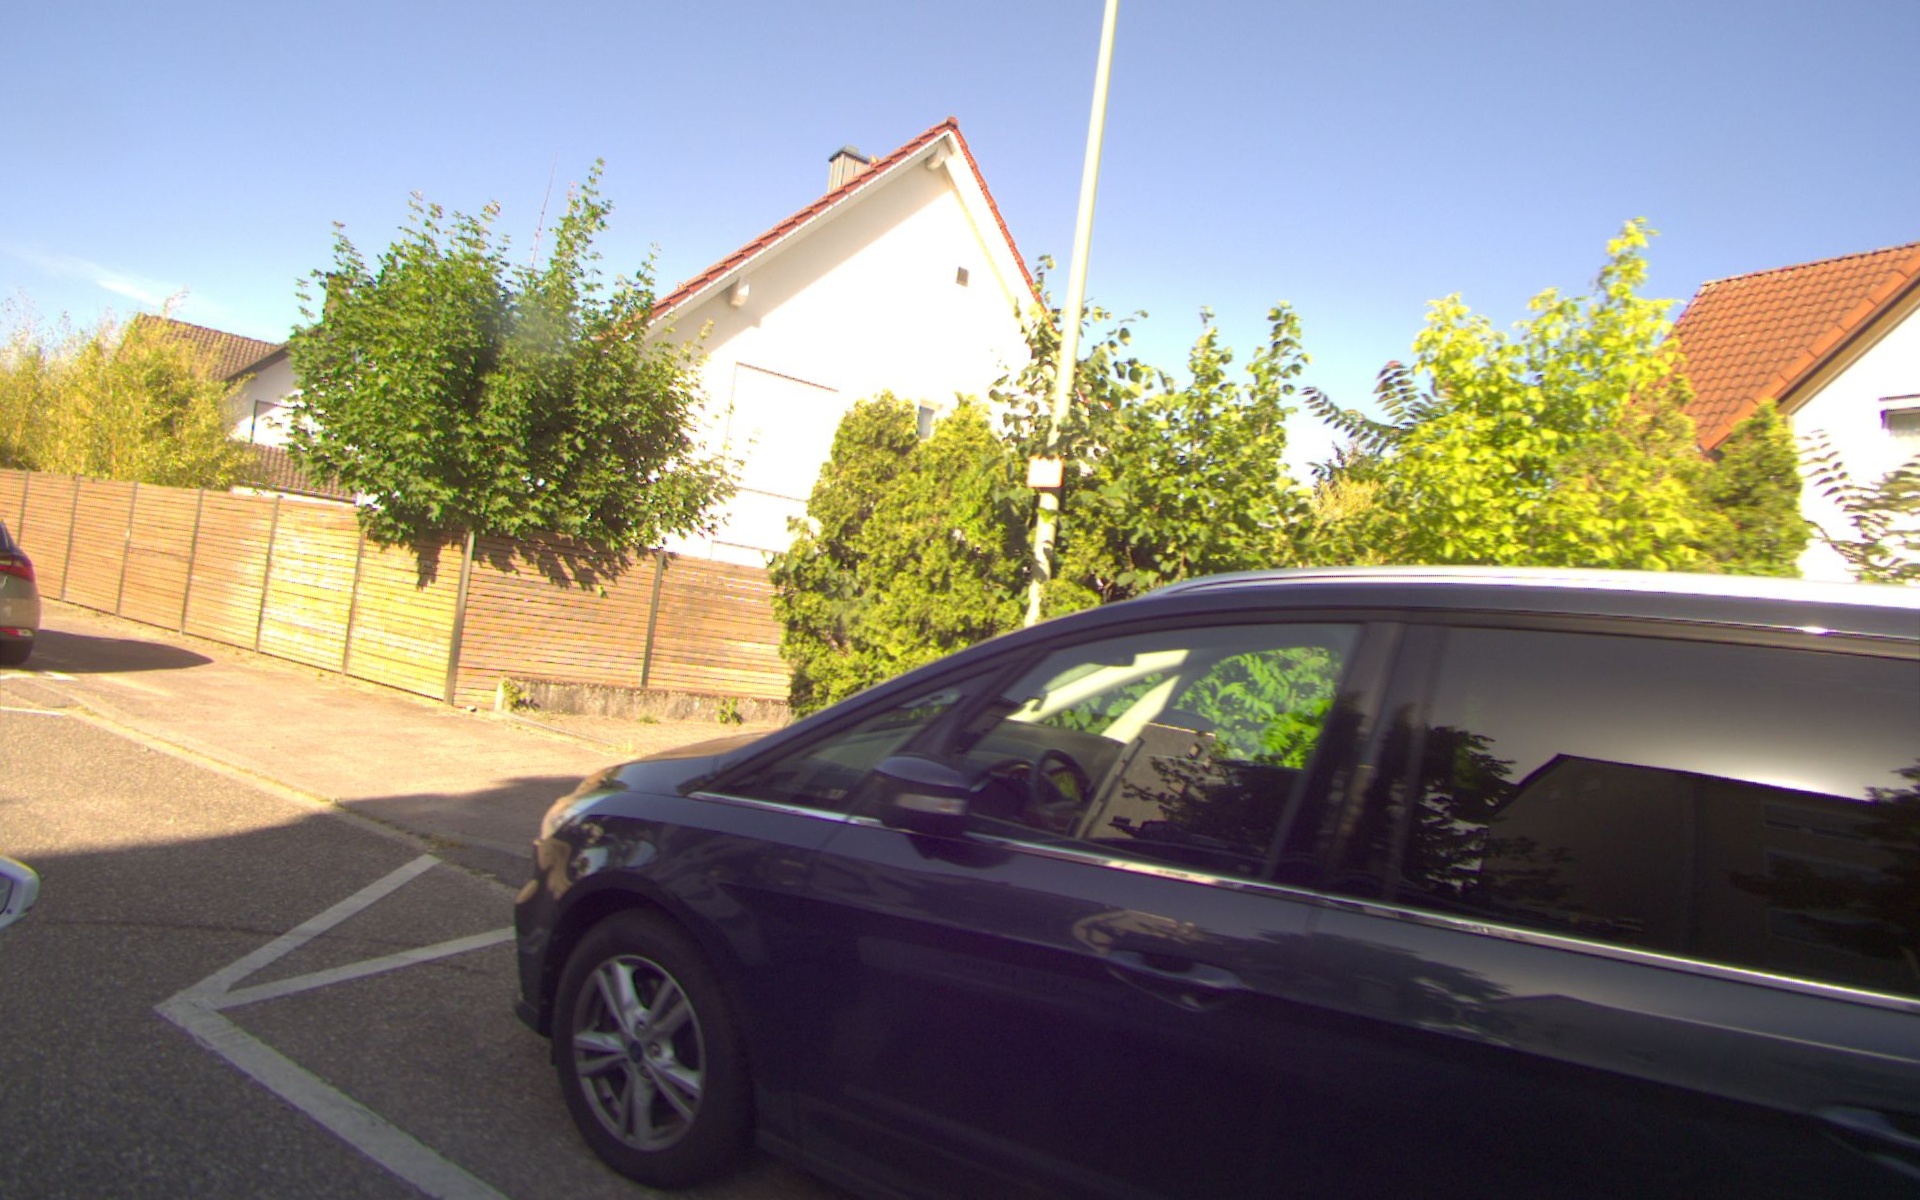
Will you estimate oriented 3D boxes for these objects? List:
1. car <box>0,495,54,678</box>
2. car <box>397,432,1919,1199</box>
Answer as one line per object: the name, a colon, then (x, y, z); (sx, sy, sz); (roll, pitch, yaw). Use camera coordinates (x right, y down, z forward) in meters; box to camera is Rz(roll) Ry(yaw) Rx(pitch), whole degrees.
car: (-9.898, -0.347, 8.856); (3.823, 1.511, 1.646); (6, -2, 30)
car: (0.822, 0.728, 2.549); (4.354, 1.834, 1.747); (6, -2, 29)
